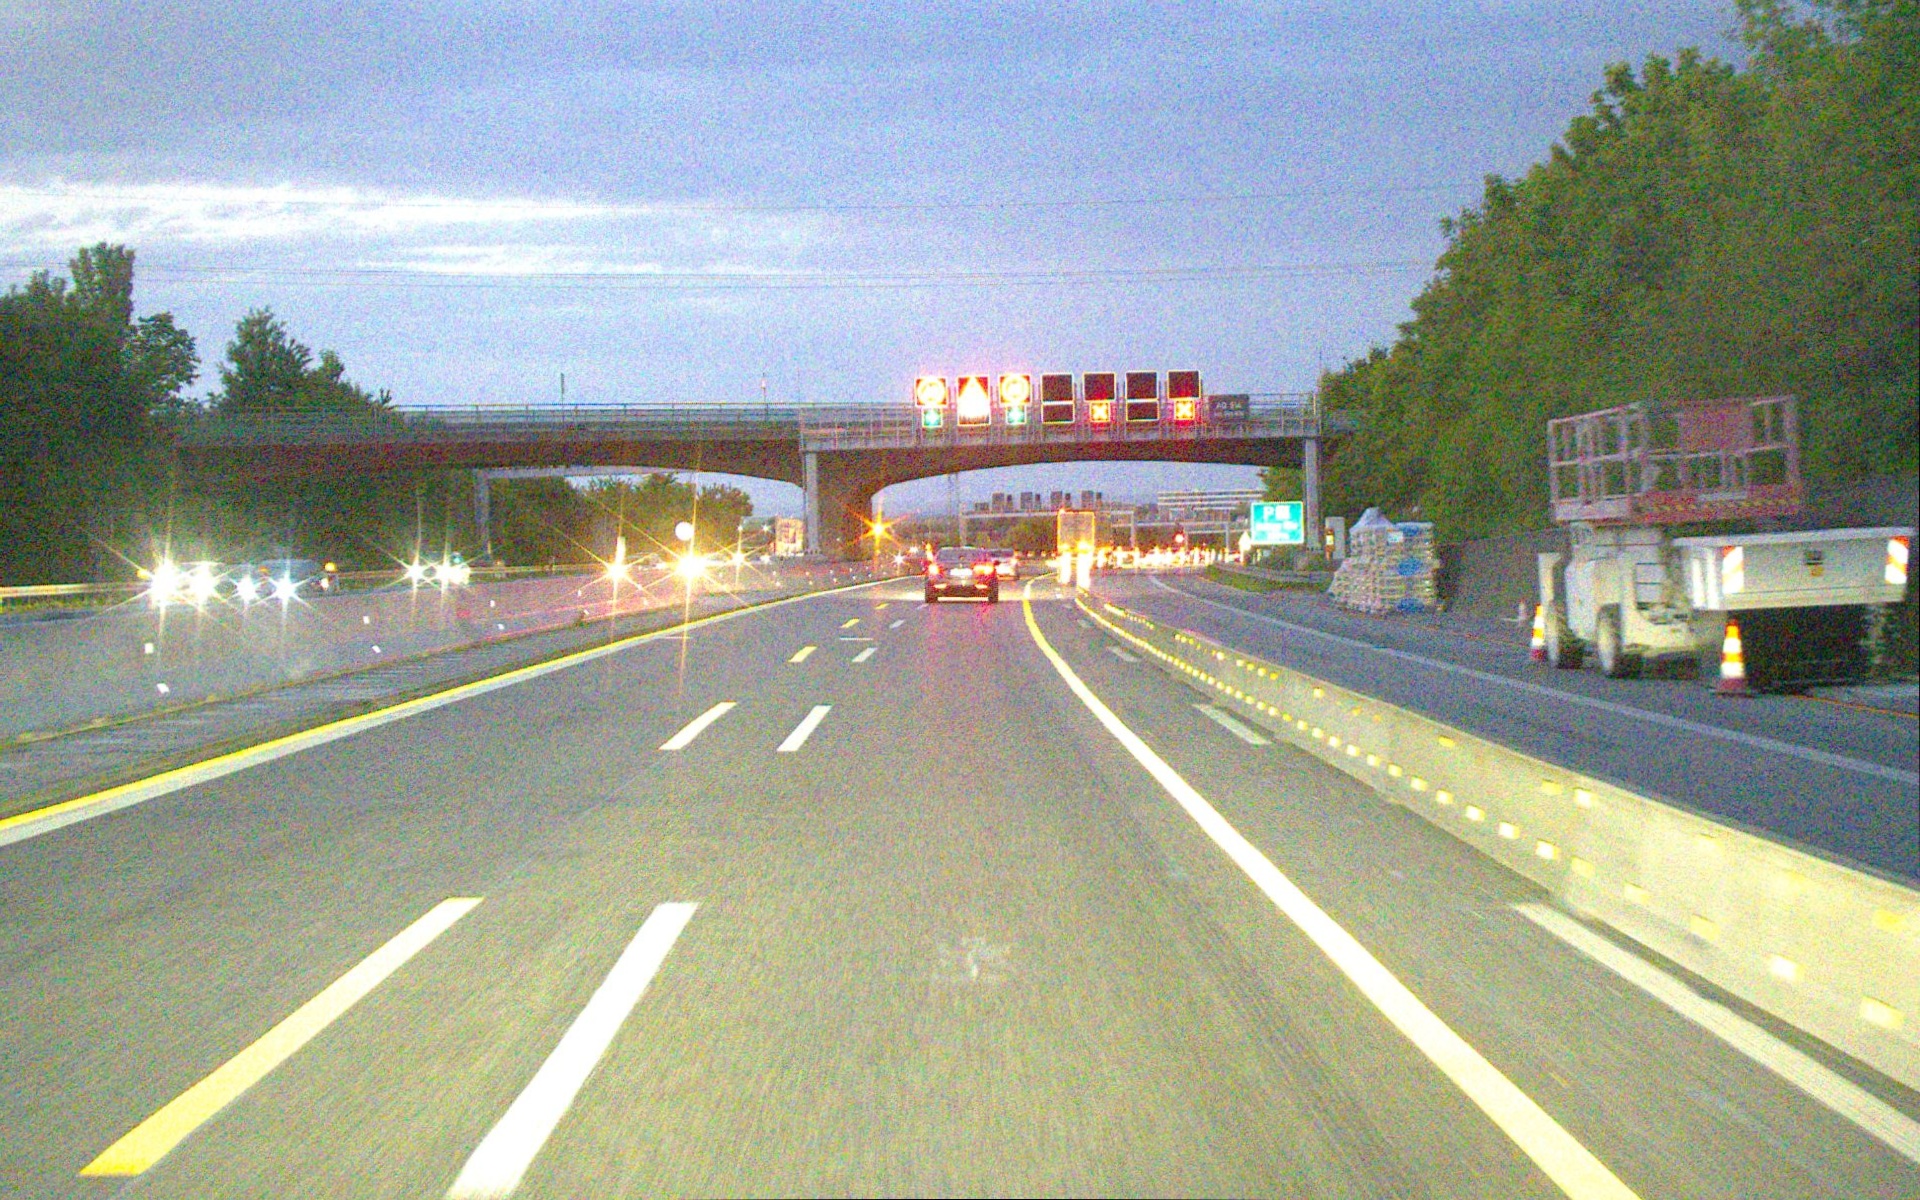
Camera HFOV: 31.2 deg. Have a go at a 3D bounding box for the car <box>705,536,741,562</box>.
[{"bbox_3d":[-15.021,-3.214,218.075,1.591,1.598,5.033,1,1,4],"label":"car"}]

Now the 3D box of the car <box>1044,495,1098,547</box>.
[{"bbox_3d":[7.683,-5.466,239.003,3.605,3.384,8.014,1,1,1],"label":"car"}]

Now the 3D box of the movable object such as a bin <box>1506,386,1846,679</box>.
[{"bbox_3d":[8.105,-0.752,39.597,2.620,3.097,5.806,-1,1,-1],"label":"movable object such as a bin"}]

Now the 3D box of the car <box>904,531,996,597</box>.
[{"bbox_3d":[-0.276,-0.921,88.237,2.265,1.616,4.000,1,1,-1],"label":"car"}]

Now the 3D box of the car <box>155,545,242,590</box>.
[{"bbox_3d":[-26.458,-1.129,119.586,1.825,1.480,4.701,1,1,2],"label":"car"}]

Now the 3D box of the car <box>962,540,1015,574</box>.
[{"bbox_3d":[1.251,-1.864,148.967,1.972,1.432,3.999,1,1,5],"label":"car"}]

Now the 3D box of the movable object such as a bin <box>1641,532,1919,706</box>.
[{"bbox_3d":[8.274,0.170,34.647,1.993,1.596,4.084,-2,0,0],"label":"movable object such as a bin"}]

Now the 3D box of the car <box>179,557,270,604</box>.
[{"bbox_3d":[-24.132,-0.662,112.944,1.810,1.480,4.701,1,1,2],"label":"car"}]

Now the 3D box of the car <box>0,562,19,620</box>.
[{"bbox_3d":[-25.527,-0.235,87.891,1.664,1.502,4.178,1,1,1],"label":"car"}]

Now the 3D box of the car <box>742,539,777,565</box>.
[{"bbox_3d":[-12.742,-3.043,218.860,1.737,1.632,4.891,1,1,2],"label":"car"}]

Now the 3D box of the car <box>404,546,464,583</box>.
[{"bbox_3d":[-23.992,-1.610,156.955,1.804,1.632,4.751,1,1,2],"label":"car"}]
